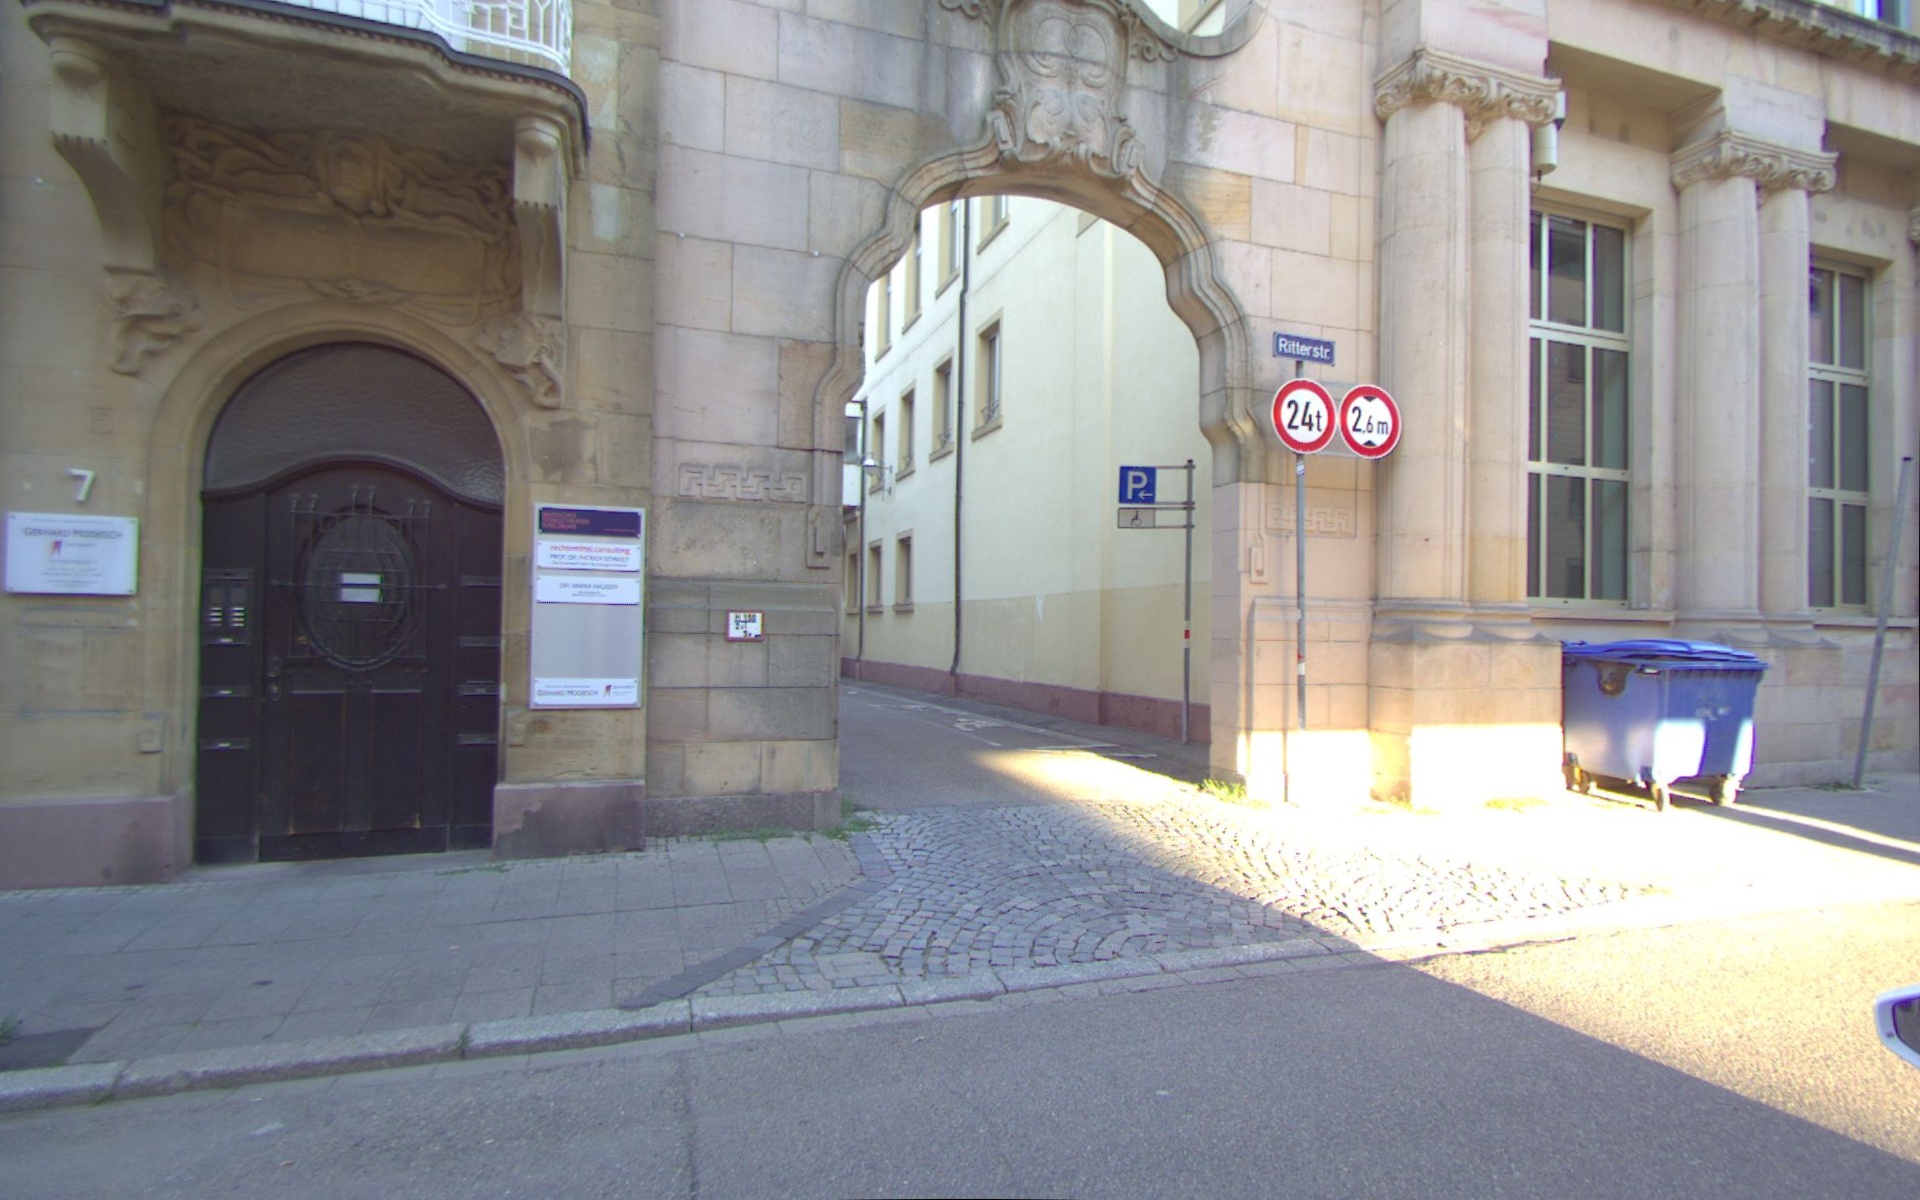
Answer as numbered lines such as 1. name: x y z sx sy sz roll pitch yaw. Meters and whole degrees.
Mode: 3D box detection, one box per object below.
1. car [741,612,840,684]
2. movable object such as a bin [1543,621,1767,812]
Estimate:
1. car: -4.885 1.296 28.477 1.835 1.778 4.141 5 -3 -22
2. movable object such as a bin: 5.935 0.950 8.637 1.167 1.494 1.074 1 0 -15
